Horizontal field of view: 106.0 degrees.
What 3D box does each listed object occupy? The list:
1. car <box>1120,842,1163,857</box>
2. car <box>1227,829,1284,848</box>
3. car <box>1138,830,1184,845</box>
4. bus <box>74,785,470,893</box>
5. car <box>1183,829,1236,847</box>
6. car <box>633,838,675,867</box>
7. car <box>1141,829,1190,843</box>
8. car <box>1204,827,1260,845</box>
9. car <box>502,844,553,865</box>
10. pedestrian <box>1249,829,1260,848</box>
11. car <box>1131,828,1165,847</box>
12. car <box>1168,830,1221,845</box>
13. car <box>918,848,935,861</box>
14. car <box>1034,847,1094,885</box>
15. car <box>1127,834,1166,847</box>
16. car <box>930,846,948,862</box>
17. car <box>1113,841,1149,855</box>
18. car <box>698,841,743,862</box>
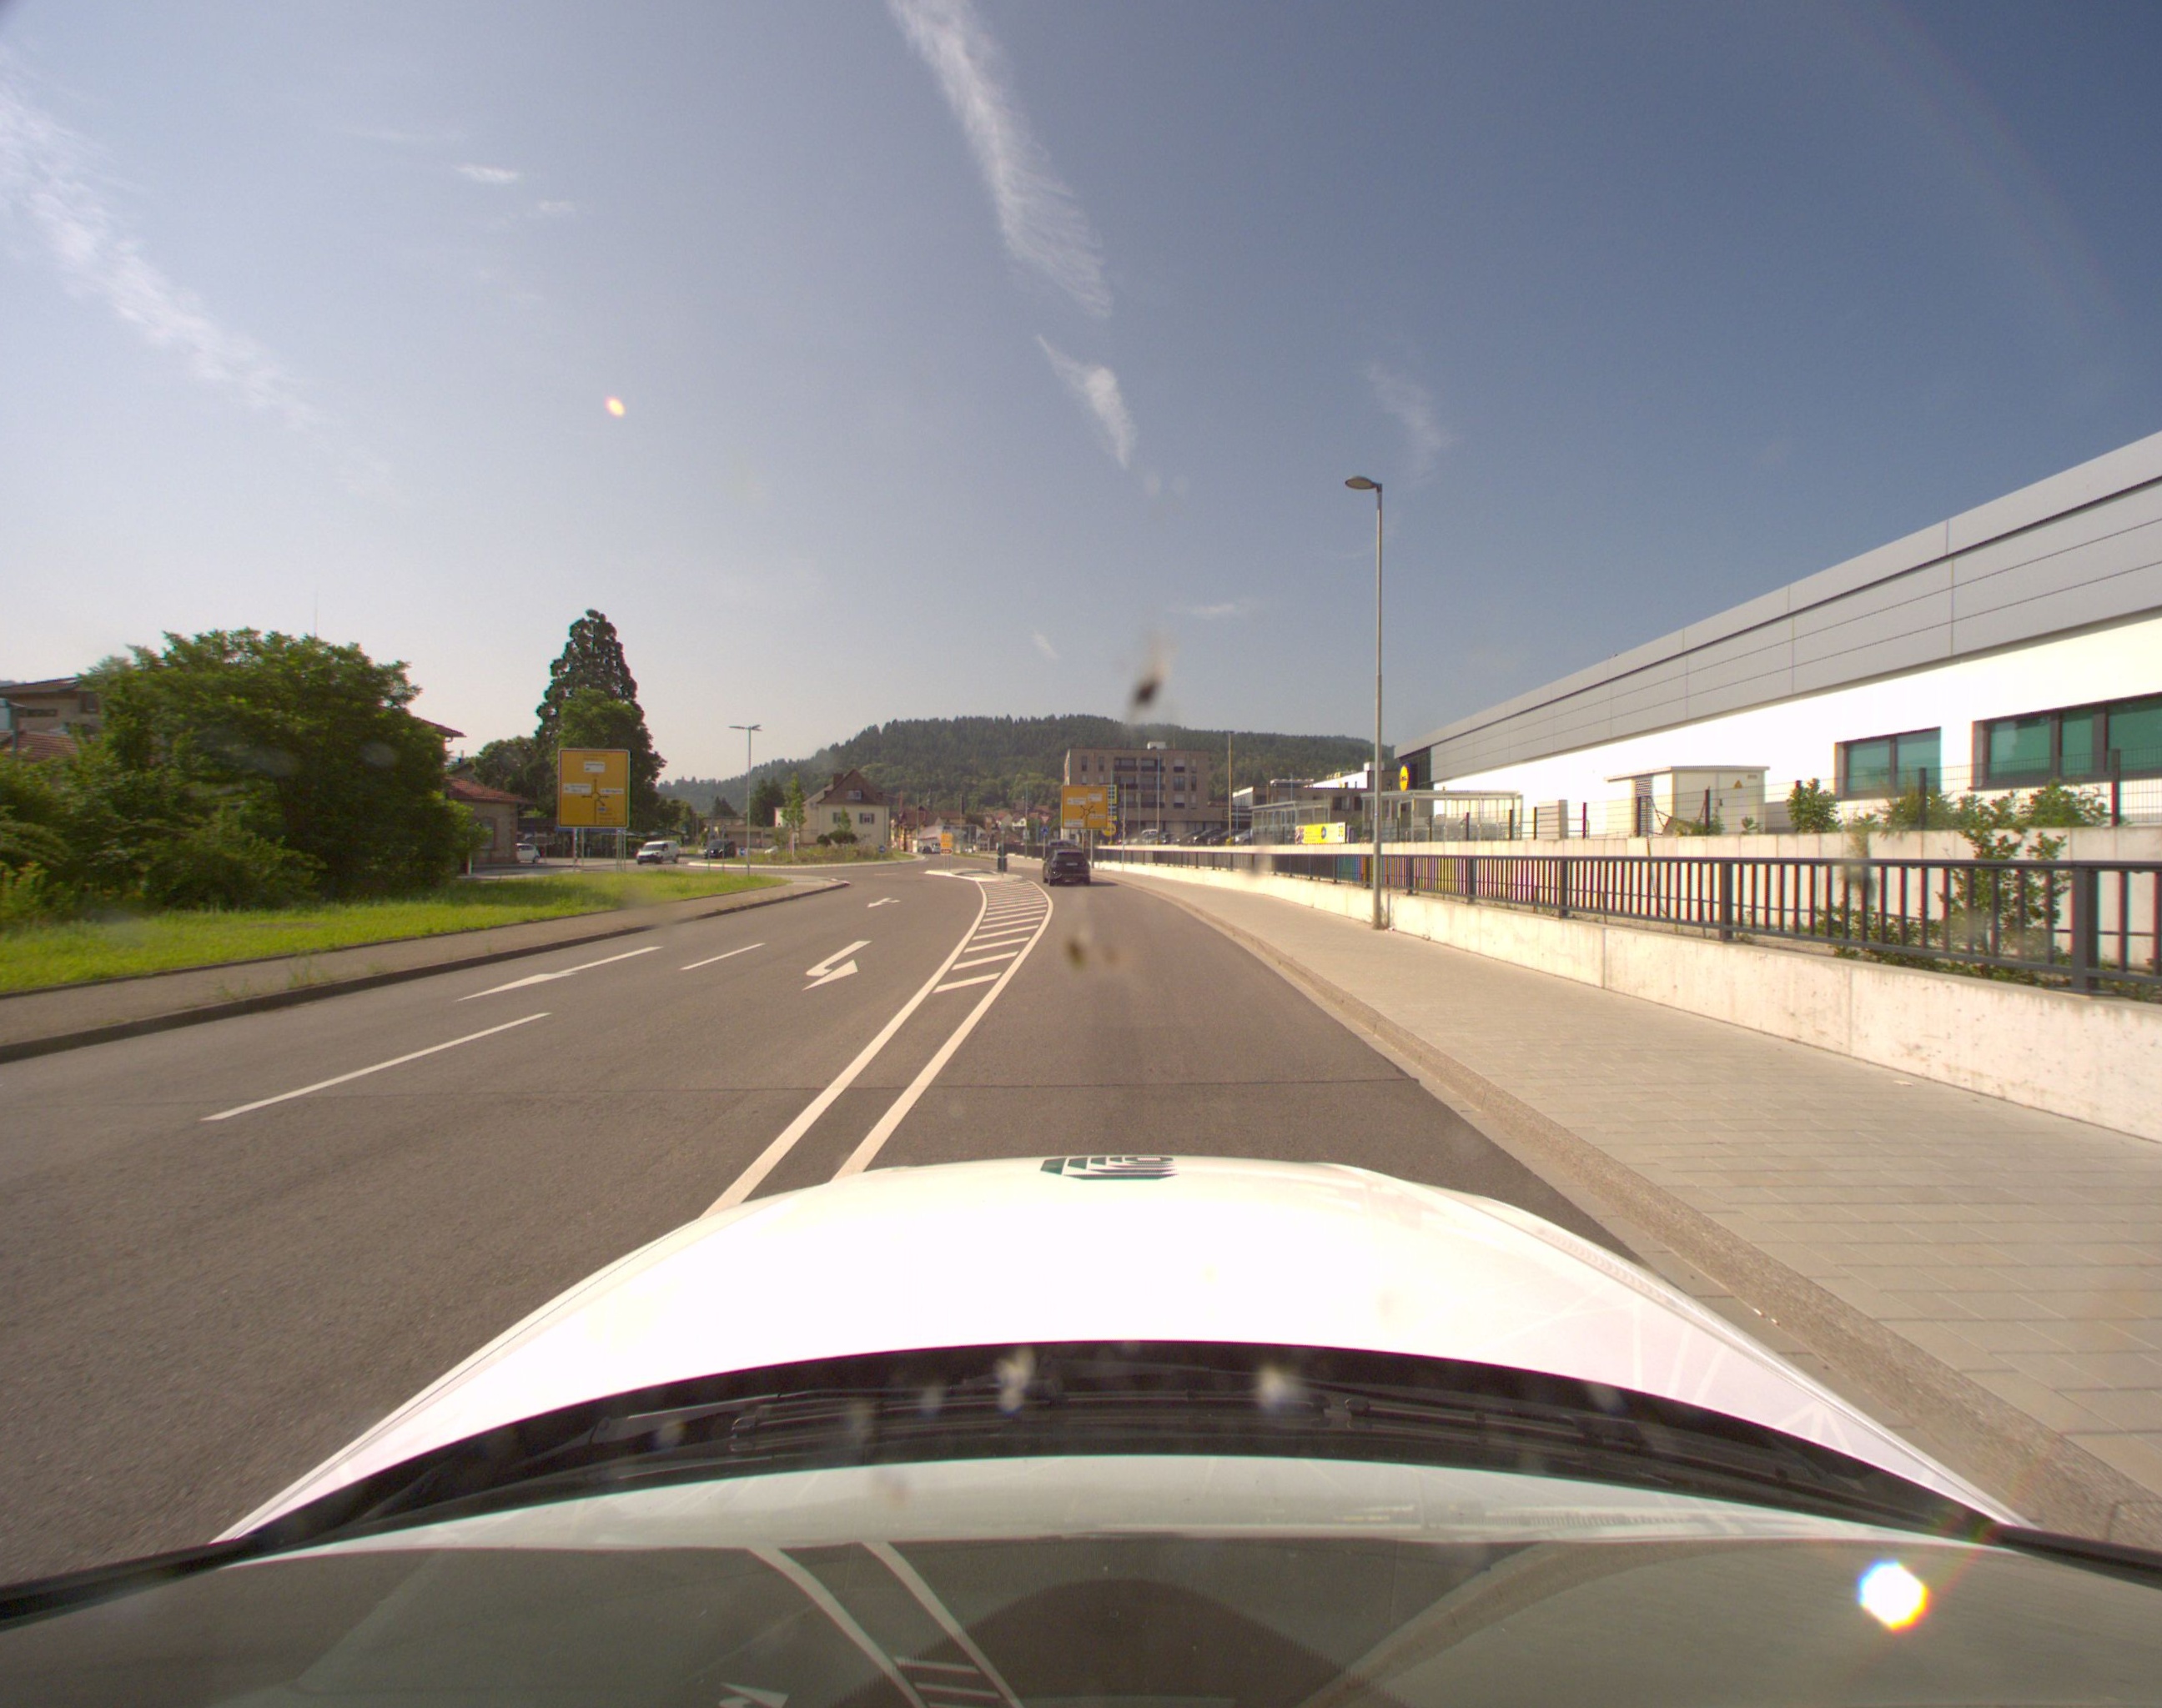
[{"bbox_3d":[6.170,-0.433,83.634,4.063,1.487,1.708,0,1,-15],"label":"car"},{"bbox_3d":[12.830,-1.127,59.914,3.815,1.364,1.671,0,1,-18],"label":"car"},{"bbox_3d":[7.560,-1.555,77.444,4.046,1.342,1.651,0,1,-17],"label":"car"},{"bbox_3d":[-27.724,-0.511,29.372,3.057,3.123,11.709,0,1,-3],"label":"bus"},{"bbox_3d":[10.511,-1.319,66.709,4.015,1.404,1.715,0,1,-18],"label":"car"},{"bbox_3d":[-34.123,-0.148,65.198,1.808,2.077,4.585,1,3,-13],"label":"car"},{"bbox_3d":[7.807,-1.637,75.430,4.289,1.245,1.655,0,1,-18],"label":"car"},{"bbox_3d":[11.688,-1.376,63.060,4.072,1.404,1.477,0,1,-18],"label":"car"},{"bbox_3d":[-42.971,0.057,63.302,1.382,1.450,3.539,0,-2,3],"label":"car"},{"bbox_3d":[12.459,-1.097,58.474,0.548,1.312,0.653,0,0,-15],"label":"pedestrian"},{"bbox_3d":[7.916,-1.954,96.724,3.969,2.136,2.002,-1,0,4],"label":"car"},{"bbox_3d":[9.747,-1.444,69.982,4.224,1.245,1.734,0,1,-18],"label":"car"},{"bbox_3d":[-23.788,0.048,125.203,2.000,2.013,3.973,-1,0,-20],"label":"car"},{"bbox_3d":[-0.857,0.539,38.045,1.884,1.684,3.979,-1,0,-15],"label":"car"},{"bbox_3d":[6.508,-1.336,81.003,3.564,1.199,1.705,0,1,-17],"label":"car"},{"bbox_3d":[-19.117,-0.005,110.128,1.990,2.013,3.994,-1,0,-5],"label":"car"},{"bbox_3d":[5.299,-0.613,86.405,3.564,1.430,1.701,0,1,-17],"label":"car"},{"bbox_3d":[-35.221,-0.221,79.788,1.830,1.946,4.890,-1,0,6],"label":"car"}]
